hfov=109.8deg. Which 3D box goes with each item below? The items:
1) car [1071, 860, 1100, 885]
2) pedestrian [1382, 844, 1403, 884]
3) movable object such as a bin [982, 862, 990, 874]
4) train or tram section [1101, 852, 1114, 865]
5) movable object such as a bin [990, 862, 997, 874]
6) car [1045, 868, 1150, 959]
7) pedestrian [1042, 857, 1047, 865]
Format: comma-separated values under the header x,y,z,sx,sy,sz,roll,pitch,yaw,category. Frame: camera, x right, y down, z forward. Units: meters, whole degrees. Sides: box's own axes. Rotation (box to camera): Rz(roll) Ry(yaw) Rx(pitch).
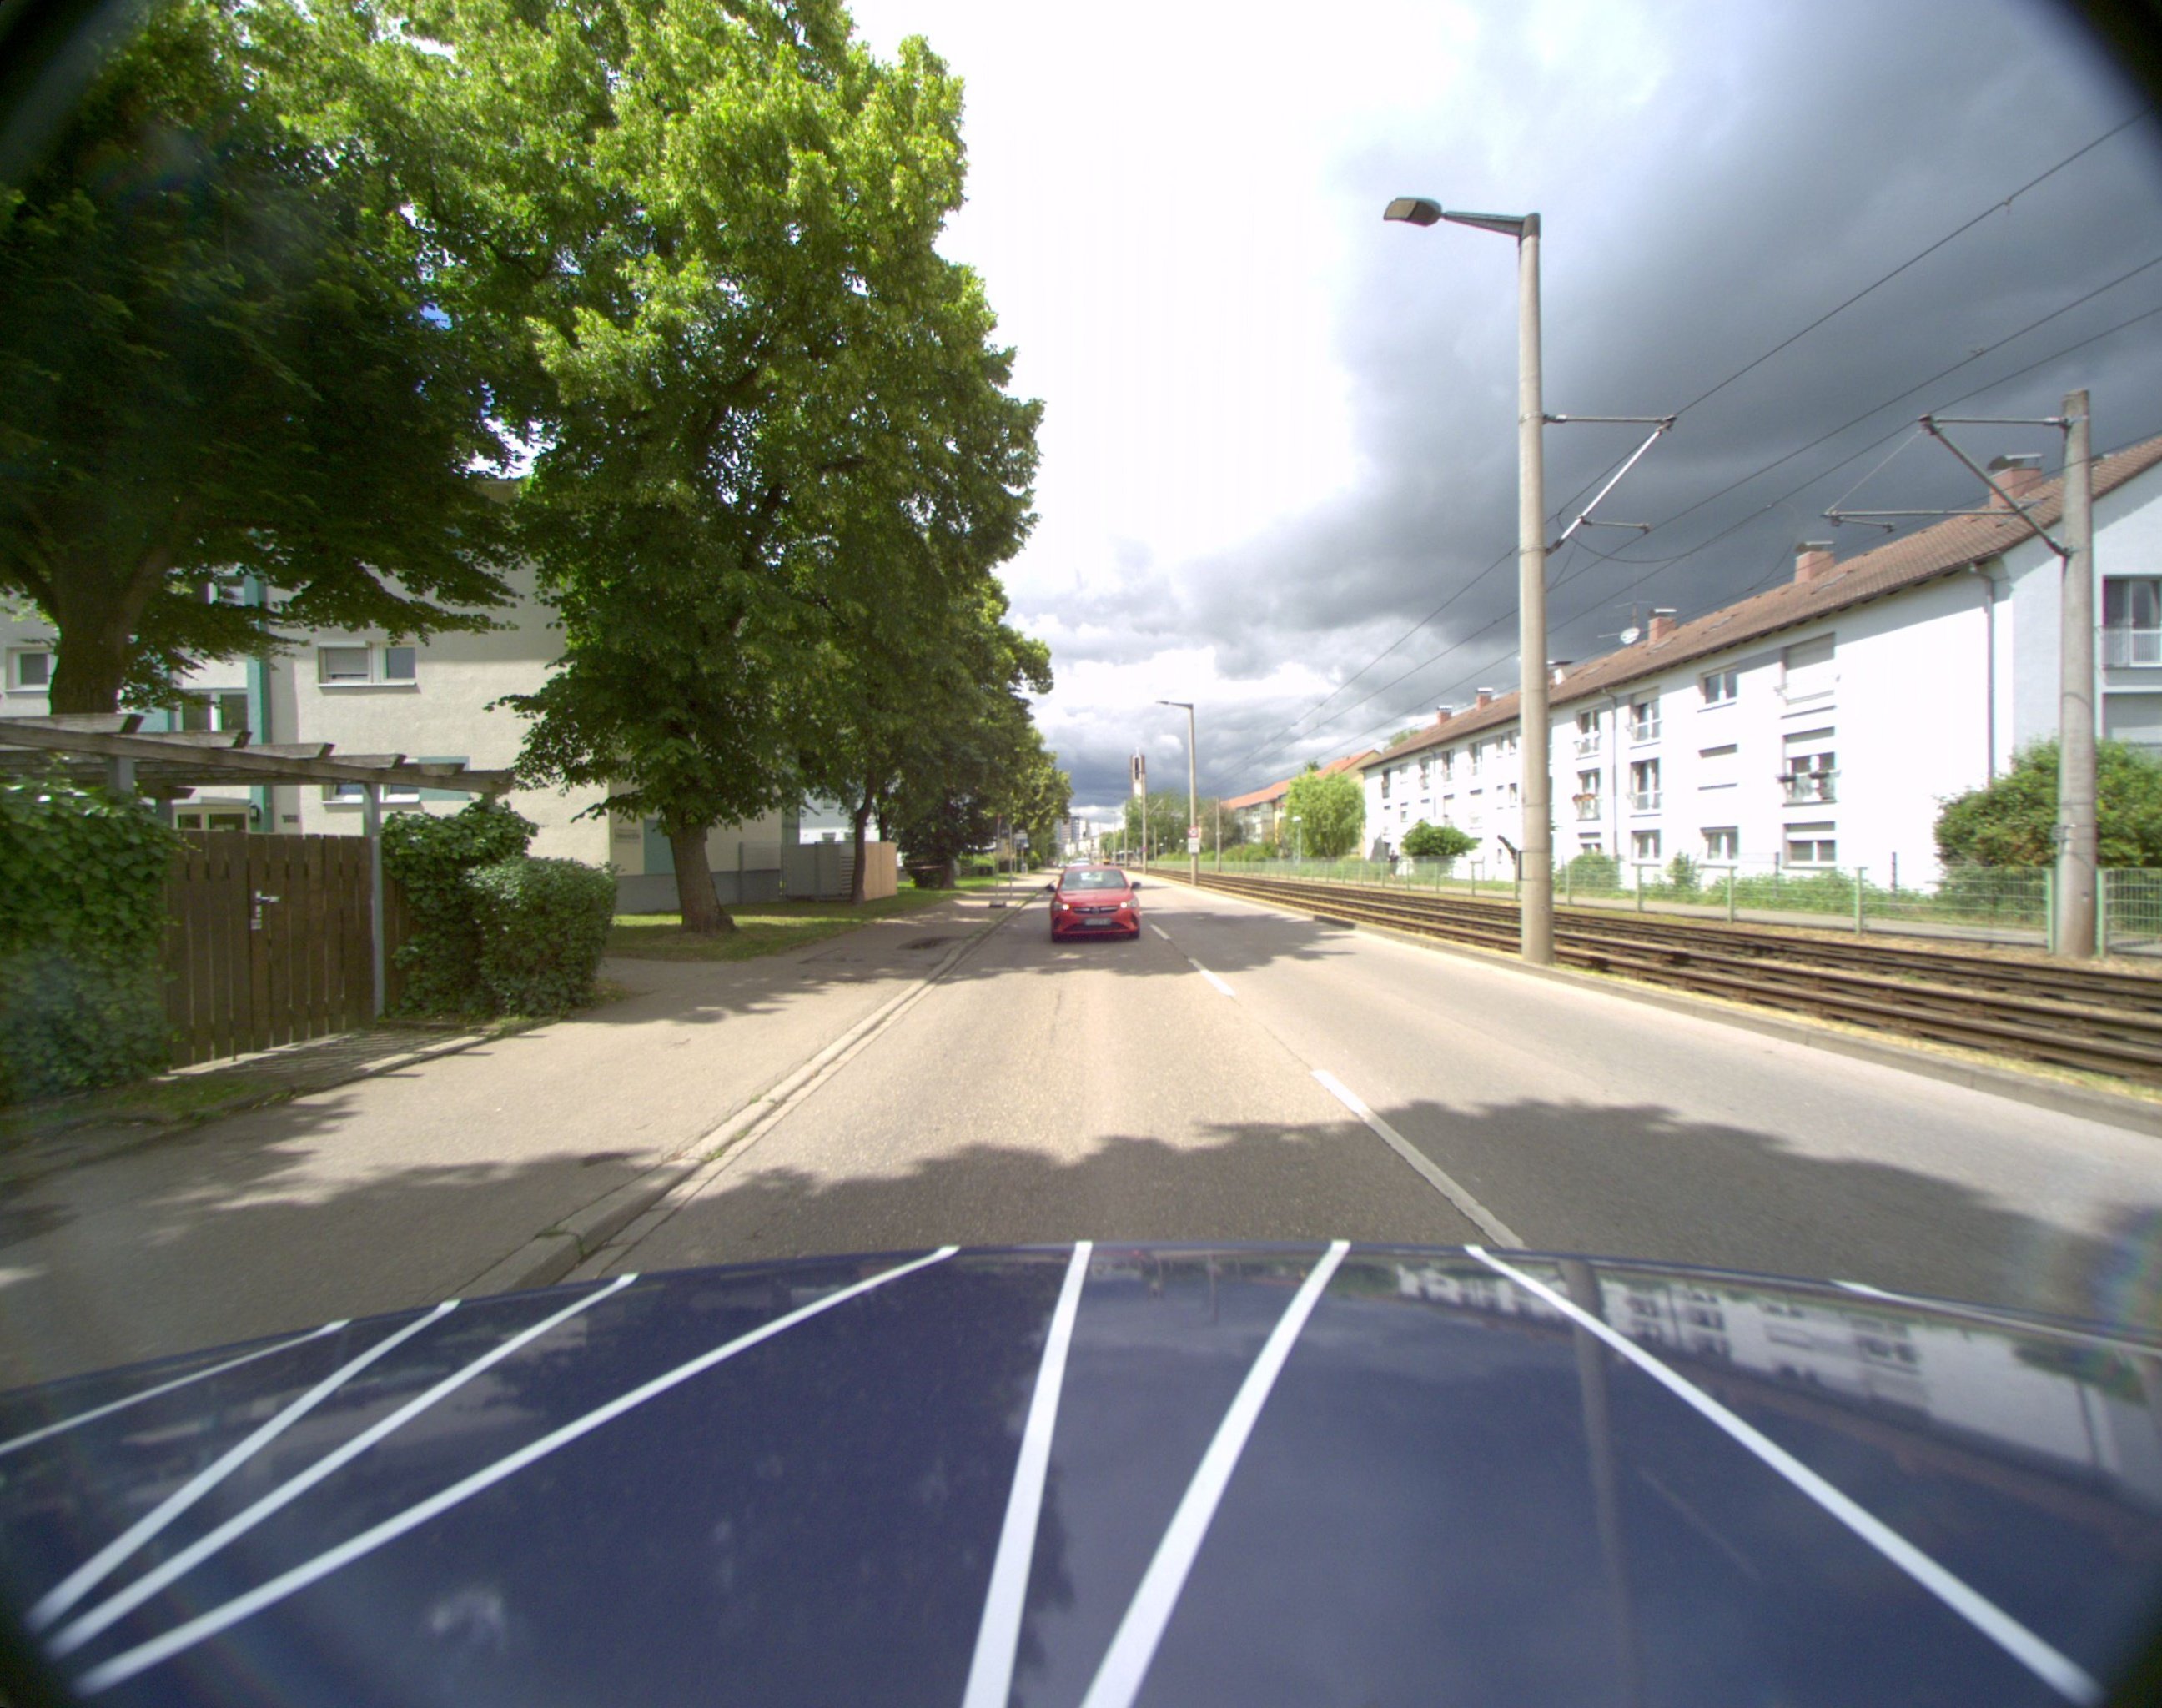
x,y,z,sx,sy,sz,roll,pitch,yaw,category
0.289,1.127,48.235,1.756,1.432,4.226,-2,0,0,car
14.668,0.470,35.781,0.661,1.838,0.768,0,0,0,pedestrian
-7.656,1.140,61.247,0.501,0.941,0.551,0,0,0,movable object such as a bin
8.362,1.388,243.263,2.988,3.840,18.536,-3,0,-1,train or tram section
-7.034,1.139,61.265,0.497,0.949,0.580,0,0,0,movable object such as a bin
0.285,1.060,15.114,1.756,1.432,4.226,-2,0,0,car
-7.330,1.389,151.146,0.811,1.761,0.817,1,1,5,pedestrian
